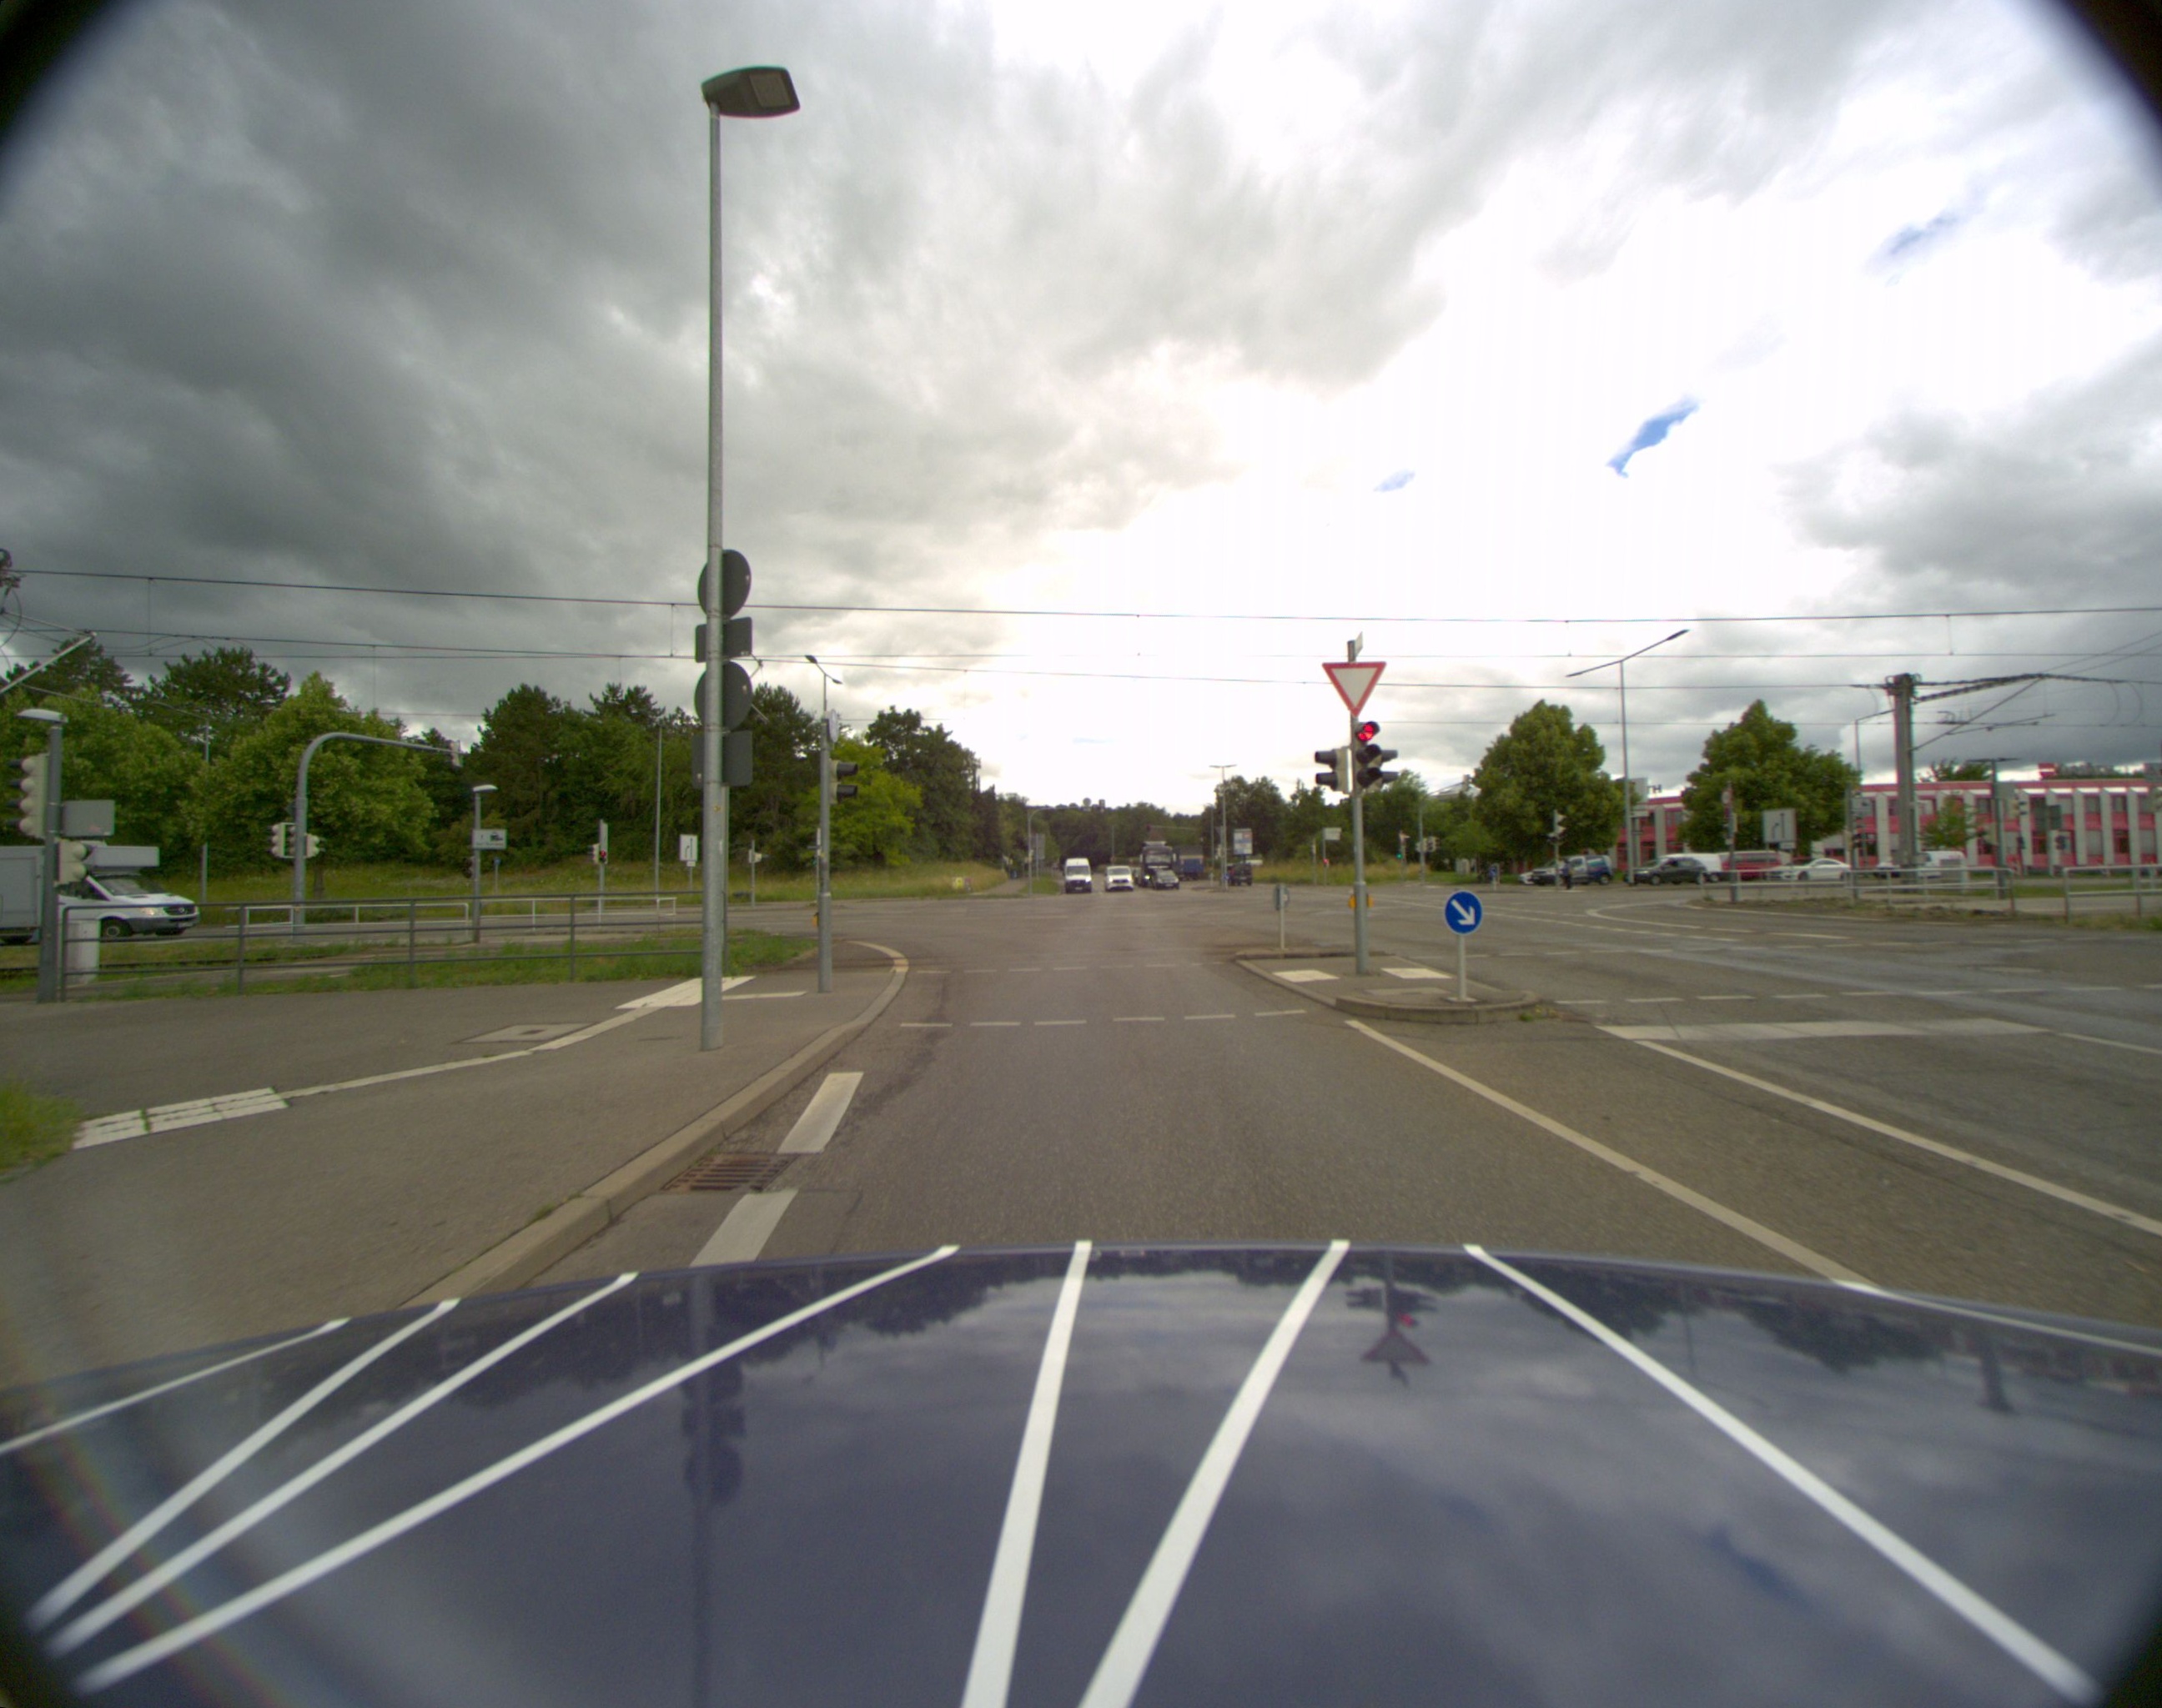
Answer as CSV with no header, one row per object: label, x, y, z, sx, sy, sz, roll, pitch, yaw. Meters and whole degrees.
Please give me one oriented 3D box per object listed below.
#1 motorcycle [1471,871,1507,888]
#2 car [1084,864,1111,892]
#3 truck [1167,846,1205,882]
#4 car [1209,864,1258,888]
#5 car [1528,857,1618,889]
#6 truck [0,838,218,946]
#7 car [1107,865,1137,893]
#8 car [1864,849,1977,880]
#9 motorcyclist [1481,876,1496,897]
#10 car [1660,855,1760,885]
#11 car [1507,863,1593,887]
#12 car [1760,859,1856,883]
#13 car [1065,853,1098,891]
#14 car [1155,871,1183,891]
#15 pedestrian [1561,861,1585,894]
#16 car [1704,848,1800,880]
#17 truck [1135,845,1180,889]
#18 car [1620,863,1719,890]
motorcycle,27.446,1.718,51.147,2.064,1.083,0.761,-2,-2,31
car,1.460,2.148,70.033,2.226,2.372,5.961,-2,-1,0
truck,11.687,1.115,85.409,2.786,3.781,8.388,-1,-1,-2
car,12.623,1.802,63.174,2.001,1.865,4.885,-1,-1,-15
car,29.268,1.108,45.269,4.219,1.769,1.815,-1,0,-1
truck,-30.651,1.074,22.617,6.277,2.994,2.108,-1,3,-15
car,3.134,1.871,59.018,2.119,1.979,4.988,-3,-1,1
car,55.040,0.698,49.900,5.233,1.894,1.952,-1,-1,0
motorcyclist,27.430,2.209,51.158,0.815,1.413,0.761,-2,-2,31
car,38.466,0.970,46.526,4.693,1.781,1.815,0,-1,-1
car,31.232,1.433,50.658,4.510,1.411,1.837,-2,-3,1
car,44.227,1.027,46.290,4.220,1.332,1.814,2,-1,-3
car,-0.051,1.364,57.859,2.227,2.642,5.960,-2,-1,-2
car,6.645,2.030,57.766,1.635,1.433,3.866,-1,-1,-1
pedestrian,23.369,1.101,36.093,0.670,1.521,0.716,-1,0,1
car,43.684,0.664,49.532,4.453,1.894,2.184,2,-1,-6
truck,6.553,1.111,65.941,3.073,3.497,5.960,-2,-1,-2
car,32.843,1.219,42.470,4.220,1.332,1.814,2,-1,-3
